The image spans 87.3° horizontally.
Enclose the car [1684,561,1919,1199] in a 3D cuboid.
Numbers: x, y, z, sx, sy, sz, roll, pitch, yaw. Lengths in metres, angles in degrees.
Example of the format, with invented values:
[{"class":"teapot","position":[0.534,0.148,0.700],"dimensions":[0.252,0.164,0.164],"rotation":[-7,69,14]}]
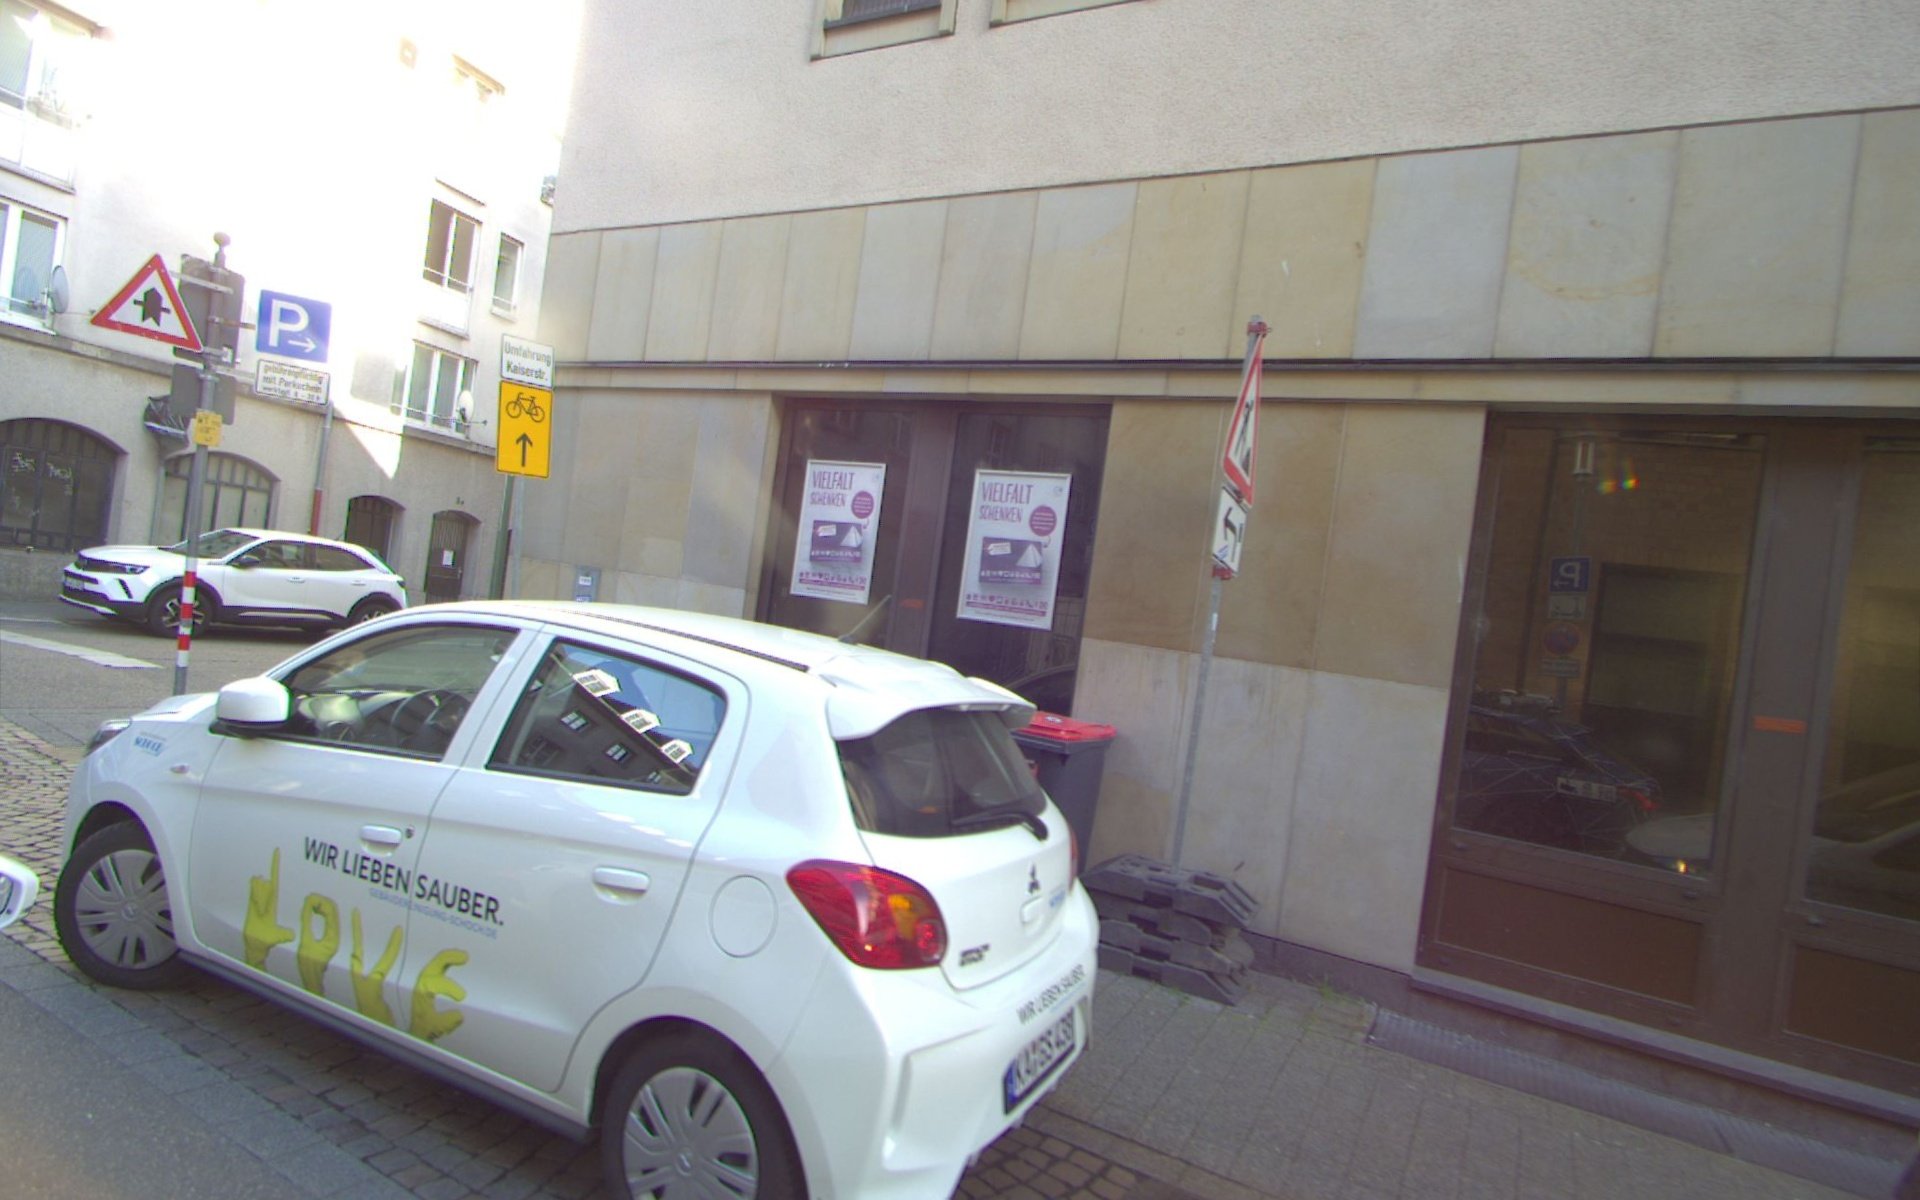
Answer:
[{"class":"car","position":[3.658,1.146,0.464],"dimensions":[5.126,1.811,1.835],"rotation":[7,-2,30]}]

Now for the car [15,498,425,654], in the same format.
[{"class":"car","position":[-10.337,-0.235,14.443],"dimensions":[1.869,1.571,4.227],"rotation":[8,-2,28]}]

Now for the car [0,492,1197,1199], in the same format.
[{"class":"car","position":[-1.431,0.684,3.608],"dimensions":[3.990,1.536,1.894],"rotation":[7,-1,26]}]
